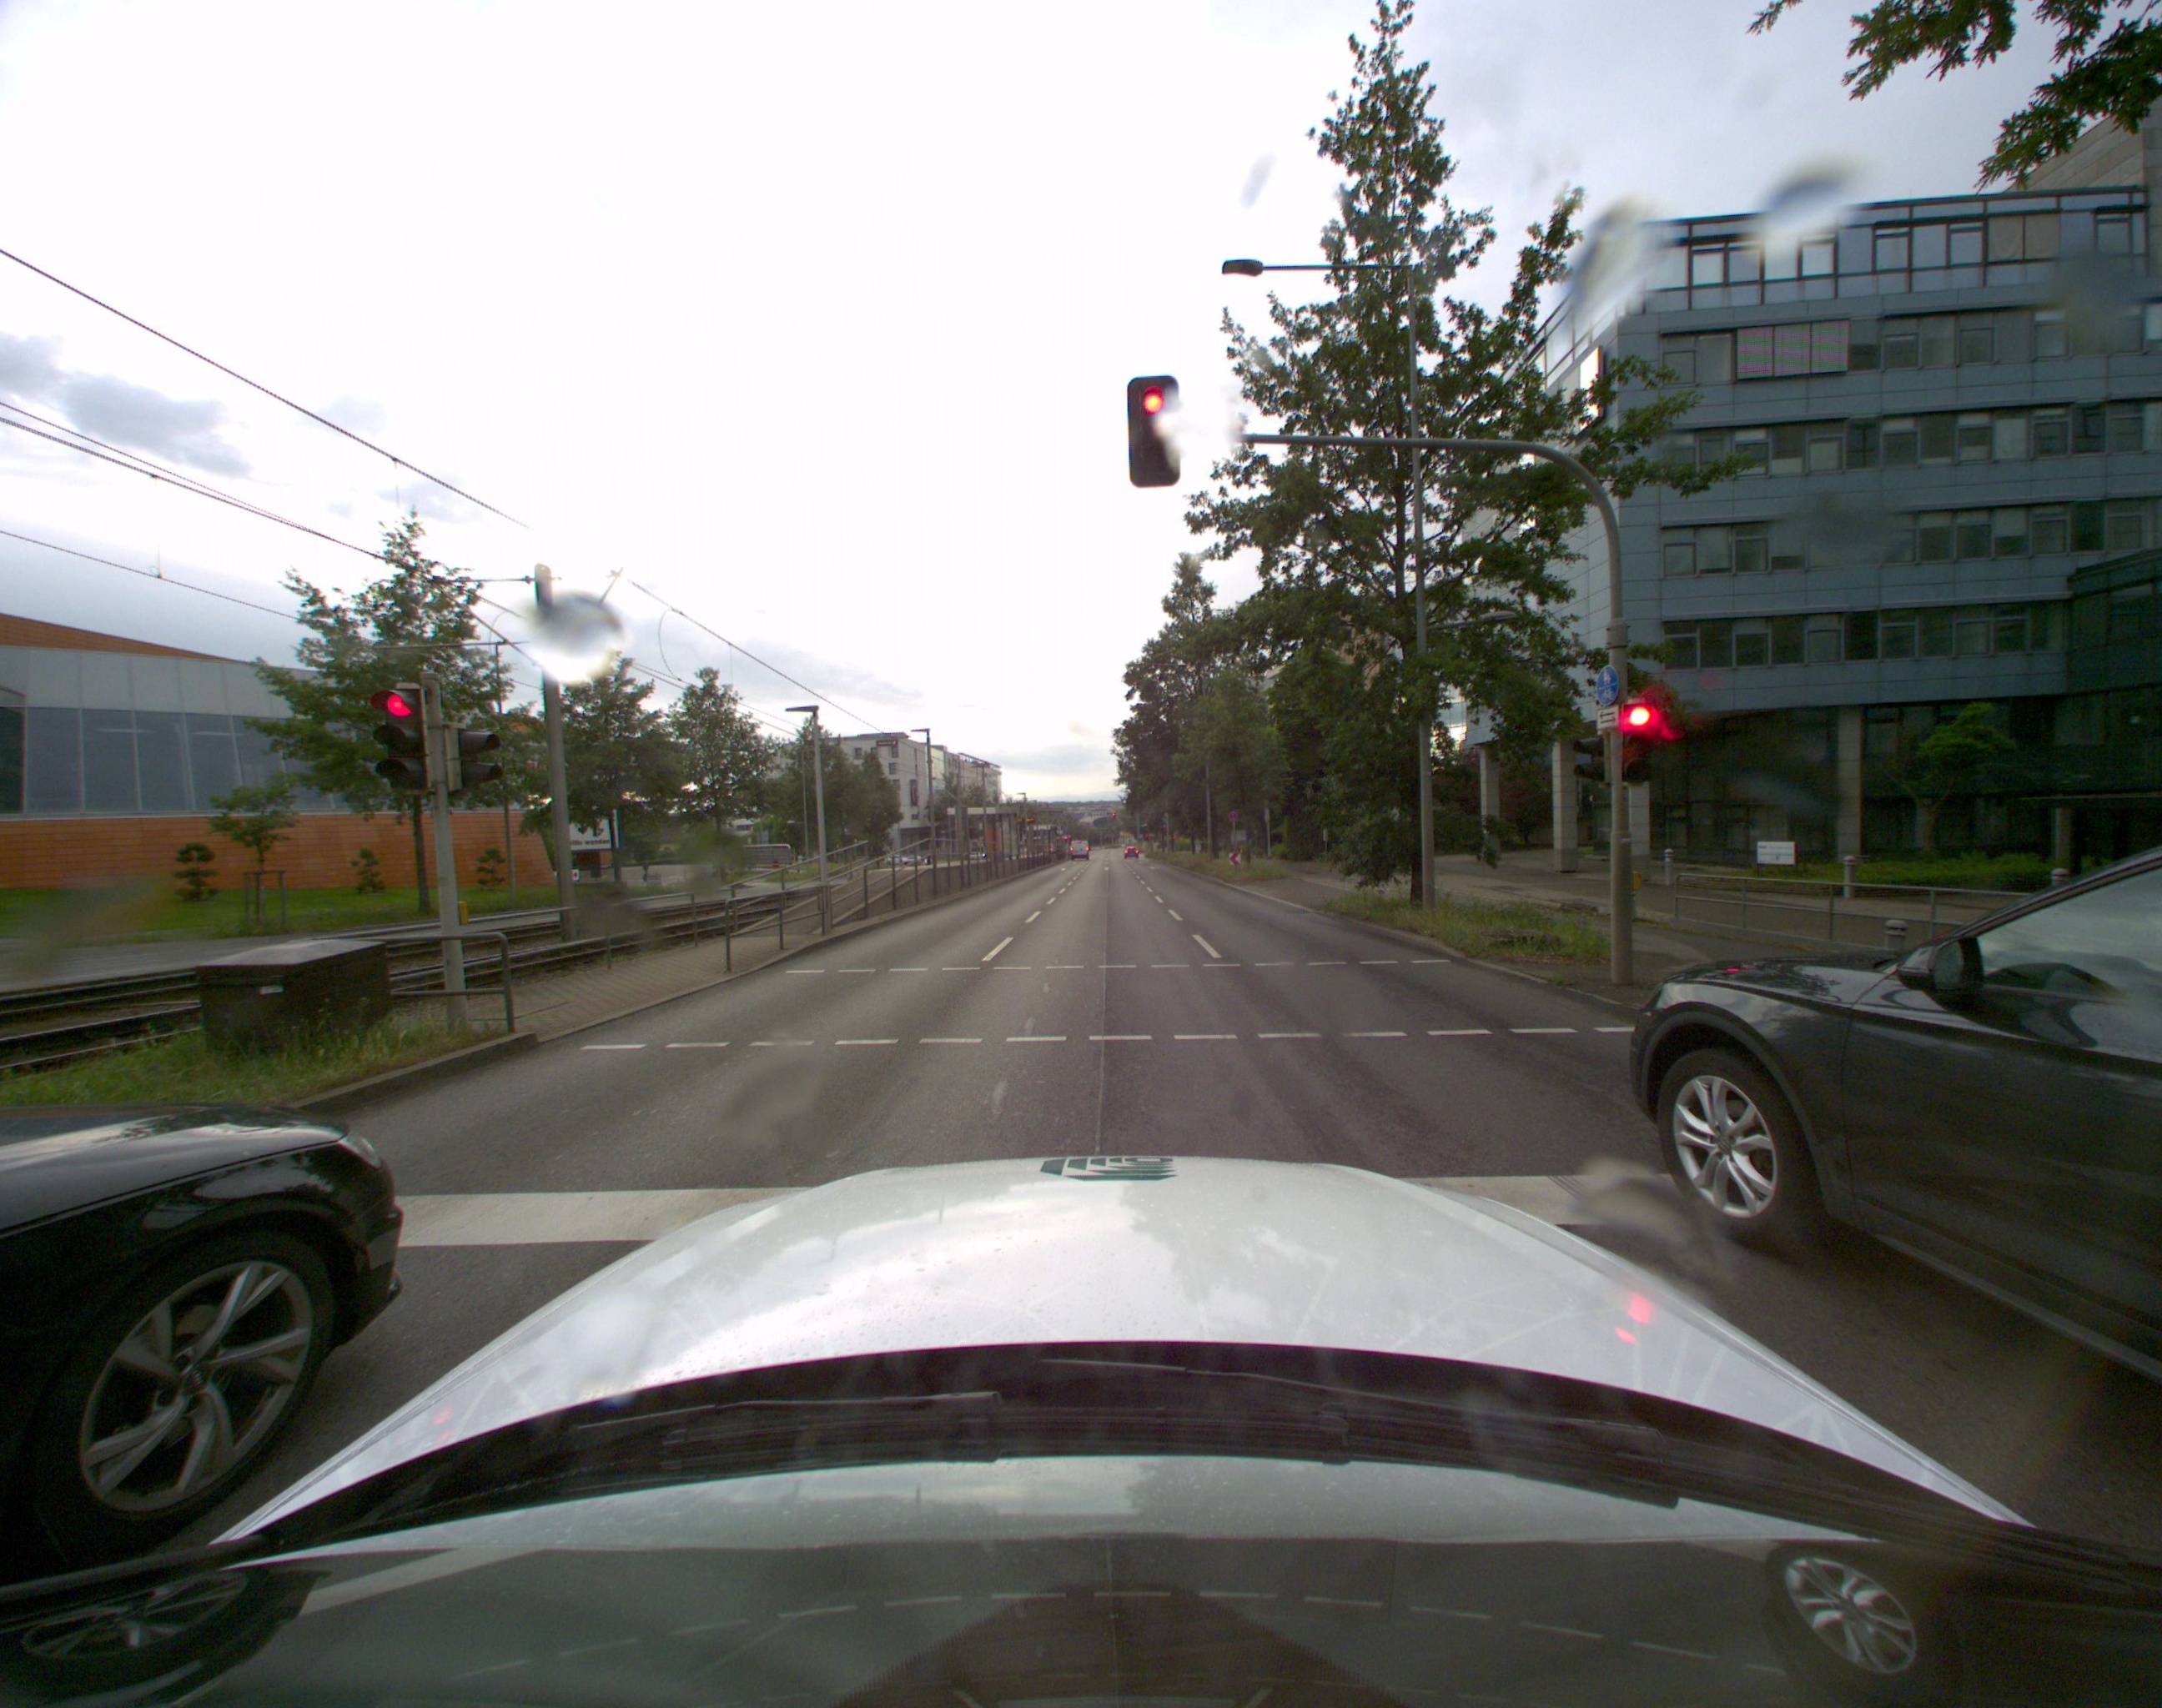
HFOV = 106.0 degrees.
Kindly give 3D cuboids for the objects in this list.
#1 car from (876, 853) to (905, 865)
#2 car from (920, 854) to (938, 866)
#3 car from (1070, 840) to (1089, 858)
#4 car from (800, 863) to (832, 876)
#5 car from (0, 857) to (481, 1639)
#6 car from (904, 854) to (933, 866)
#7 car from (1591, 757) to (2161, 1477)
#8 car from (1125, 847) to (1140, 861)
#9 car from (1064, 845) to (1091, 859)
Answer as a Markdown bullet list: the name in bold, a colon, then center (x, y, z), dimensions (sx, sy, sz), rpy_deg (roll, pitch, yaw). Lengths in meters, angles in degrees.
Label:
- **car**: center (-28.724, 0.774, 122.722), dimensions (4.094, 1.436, 1.648), rpy_deg (-4, 0, -13)
- **car**: center (-19.266, 0.763, 103.441), dimensions (1.647, 1.436, 3.875), rpy_deg (-4, 0, -3)
- **car**: center (-0.145, -0.619, 97.005), dimensions (2.086, 2.053, 4.606), rpy_deg (-1, 0, 1)
- **car**: center (-31.490, 1.853, 96.837), dimensions (3.341, 1.387, 1.440), rpy_deg (-1, 1, 18)
- **car**: center (-2.975, 0.776, 0.478), dimensions (1.774, 1.466, 4.515), rpy_deg (-1, 0, 2)
- **car**: center (-23.329, 0.811, 116.872), dimensions (3.829, 1.436, 1.667), rpy_deg (-4, 0, 34)
- **car**: center (3.306, 0.572, 1.665), dimensions (1.811, 1.612, 4.472), rpy_deg (-1, 0, 2)
- **car**: center (6.492, -0.056, 103.053), dimensions (1.767, 1.691, 3.847), rpy_deg (-1, 0, 2)
- **car**: center (-0.525, -0.331, 123.413), dimensions (3.980, 2.013, 1.757), rpy_deg (-2, 0, -5)
